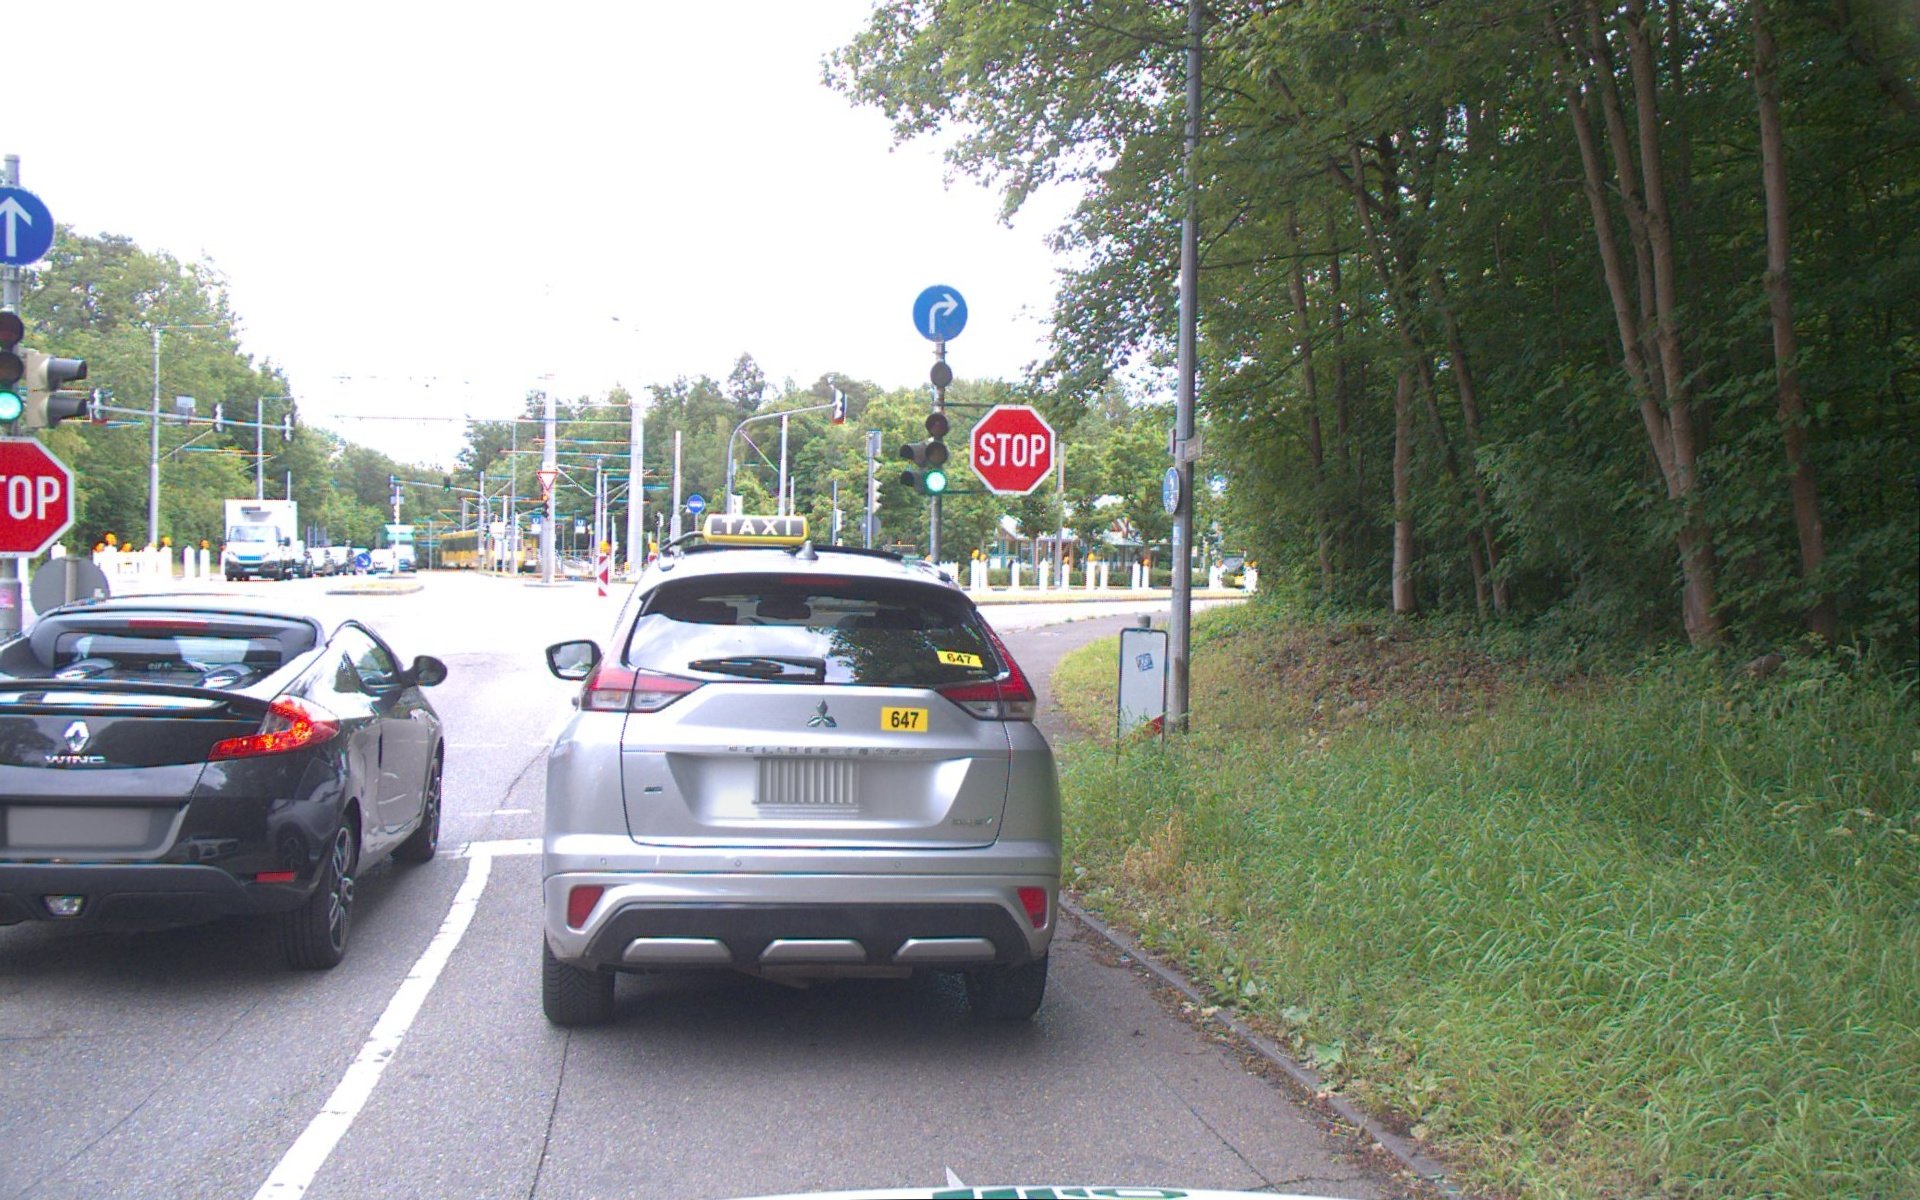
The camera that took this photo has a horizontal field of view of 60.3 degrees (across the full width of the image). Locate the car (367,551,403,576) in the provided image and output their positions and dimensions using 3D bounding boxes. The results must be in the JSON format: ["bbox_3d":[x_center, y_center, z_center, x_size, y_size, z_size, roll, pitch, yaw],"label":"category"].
[{"bbox_3d":[-36.949,-2.343,106.352,1.930,1.568,4.378,1,1,-16],"label":"car"}]

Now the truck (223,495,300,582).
[{"bbox_3d":[-28.053,-2.417,66.635,2.412,3.280,7.115,0,1,-20],"label":"truck"}]

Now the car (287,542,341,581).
[{"bbox_3d":[-30.642,-1.855,78.555,1.930,1.780,4.826,1,1,-16],"label":"car"}]

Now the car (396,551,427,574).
[{"bbox_3d":[-39.611,-2.729,119.545,1.930,1.567,4.292,1,1,-16],"label":"car"}]

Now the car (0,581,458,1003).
[{"bbox_3d":[-3.318,0.625,7.305,1.742,1.385,3.467,0,1,-11],"label":"car"}]

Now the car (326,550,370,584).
[{"bbox_3d":[-34.928,-1.899,94.463,1.930,1.877,4.670,1,1,-16],"label":"car"}]

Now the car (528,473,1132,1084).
[{"bbox_3d":[-0.655,0.515,6.817,1.741,1.778,3.773,2,1,-9],"label":"car"}]

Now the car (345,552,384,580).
[{"bbox_3d":[-36.155,-2.097,100.453,1.930,1.635,4.292,1,1,-16],"label":"car"}]

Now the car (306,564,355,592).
[{"bbox_3d":[-32.822,-1.156,86.350,1.930,1.385,4.670,1,1,-16],"label":"car"}]
